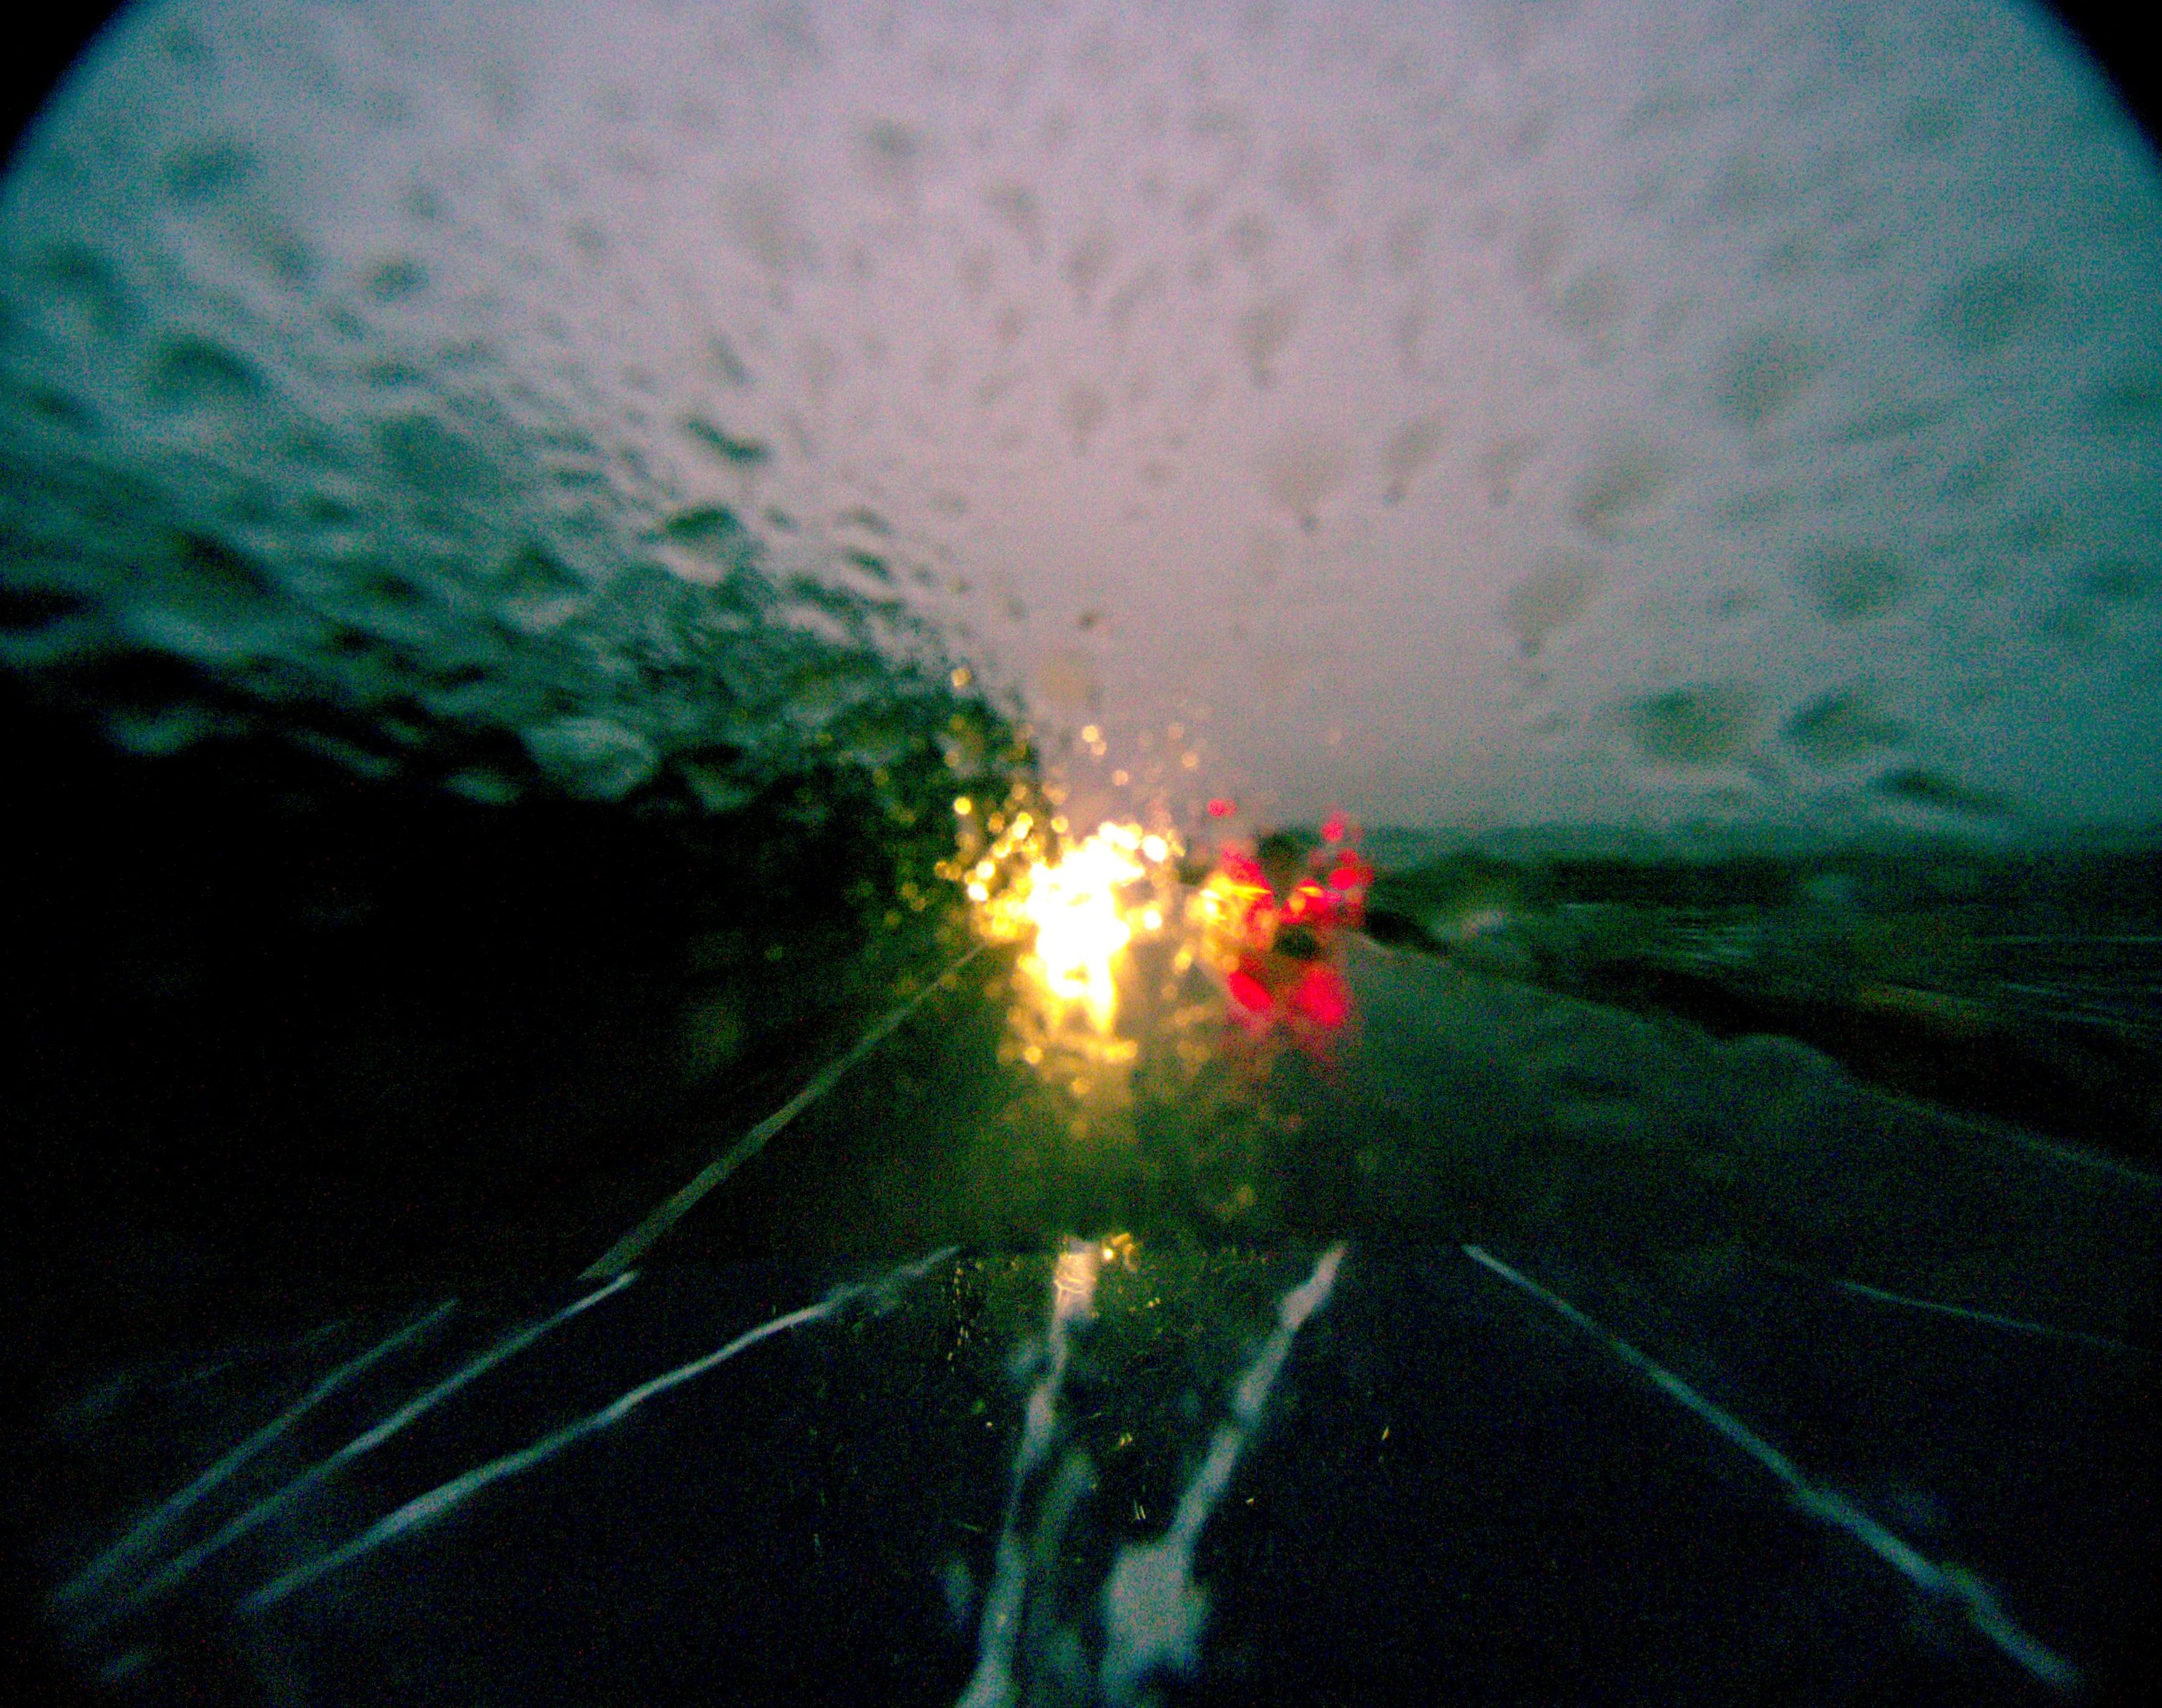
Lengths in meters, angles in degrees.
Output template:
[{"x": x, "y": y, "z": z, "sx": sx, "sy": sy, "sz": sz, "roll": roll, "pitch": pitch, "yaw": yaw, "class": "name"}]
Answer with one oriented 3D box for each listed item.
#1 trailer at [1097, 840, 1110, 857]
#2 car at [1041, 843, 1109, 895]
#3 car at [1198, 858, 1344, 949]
[{"x": 5.567, "y": -1.274, "z": 190.103, "sx": 2.708, "sy": 4.056, "sz": 12.380, "roll": -1, "pitch": 0, "yaw": 0, "class": "trailer"}, {"x": -0.171, "y": 0.574, "z": 33.683, "sx": 2.704, "sy": 1.974, "sz": 5.804, "roll": -3, "pitch": 1, "yaw": 1, "class": "car"}, {"x": 3.437, "y": 0.832, "z": 14.510, "sx": 1.732, "sy": 1.405, "sz": 4.022, "roll": 1, "pitch": 0, "yaw": 0, "class": "car"}]
